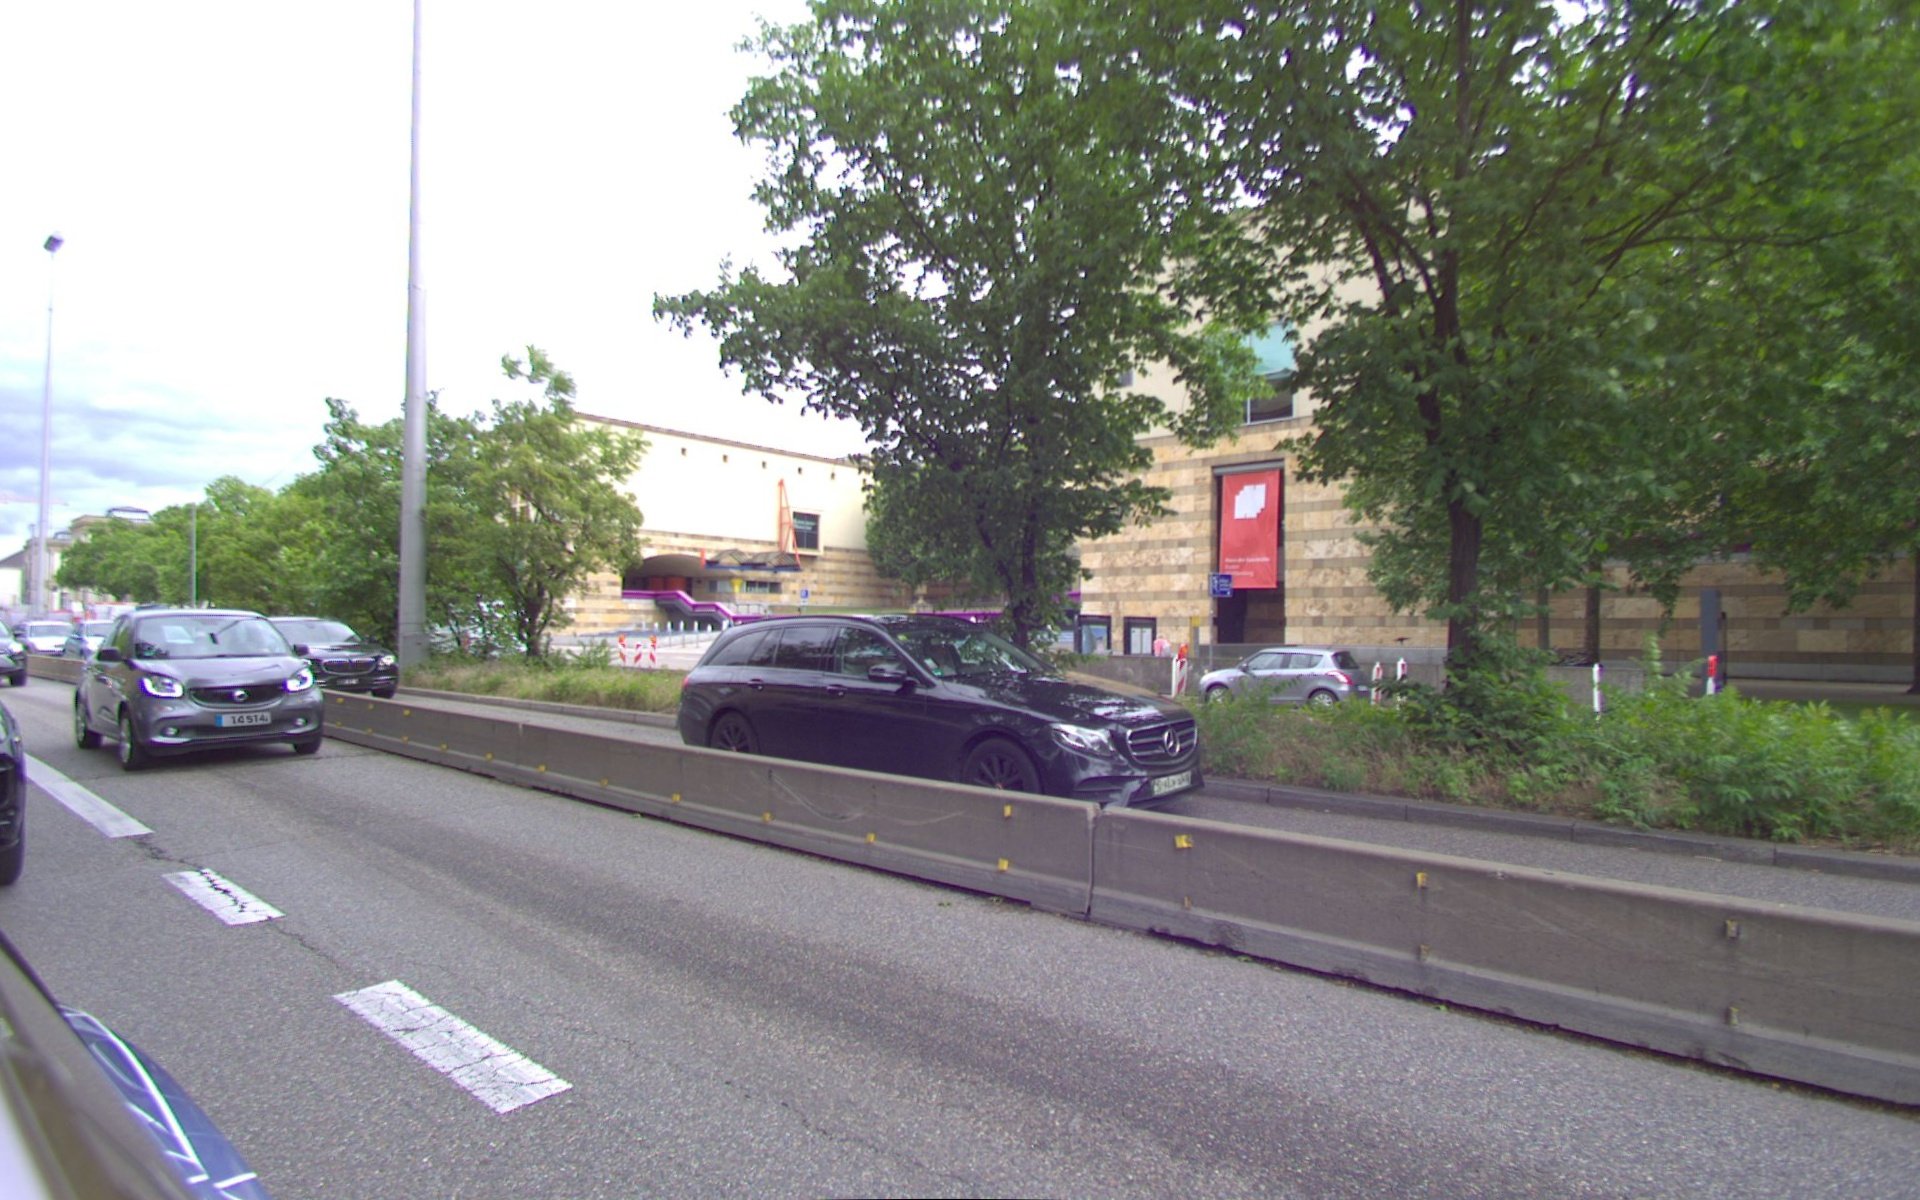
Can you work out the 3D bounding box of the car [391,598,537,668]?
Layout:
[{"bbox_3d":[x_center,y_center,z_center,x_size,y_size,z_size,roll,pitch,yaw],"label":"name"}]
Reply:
[{"bbox_3d":[-15.401,1.015,31.264,5.576,1.984,2.093,-2,-2,42],"label":"car"}]

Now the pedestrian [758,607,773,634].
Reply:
[{"bbox_3d":[-13.460,1.403,70.043,0.803,1.867,0.684,-1,0,42],"label":"pedestrian"}]

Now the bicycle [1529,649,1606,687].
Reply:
[{"bbox_3d":[17.493,1.947,29.168,0.483,1.002,1.847,-1,0,-43],"label":"bicycle"}]

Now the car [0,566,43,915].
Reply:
[{"bbox_3d":[-6.771,0.679,5.363,4.190,1.670,1.887,-1,-2,34],"label":"car"}]

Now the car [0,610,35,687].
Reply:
[{"bbox_3d":[-22.464,1.060,22.922,3.996,1.668,1.669,-1,-1,39],"label":"car"}]

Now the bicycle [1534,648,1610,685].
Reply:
[{"bbox_3d":[17.962,1.939,29.731,0.559,0.998,1.847,-1,0,-43],"label":"bicycle"}]

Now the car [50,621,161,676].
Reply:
[{"bbox_3d":[-25.625,1.404,30.318,3.846,1.518,1.657,-1,-1,36],"label":"car"}]

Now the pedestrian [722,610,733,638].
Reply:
[{"bbox_3d":[-15.576,1.596,67.737,0.683,1.867,0.805,-1,0,-10],"label":"pedestrian"}]

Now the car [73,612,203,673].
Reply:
[{"bbox_3d":[-21.289,1.059,26.166,4.190,1.465,1.644,-1,-1,37],"label":"car"}]

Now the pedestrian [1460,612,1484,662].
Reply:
[{"bbox_3d":[16.404,1.176,32.408,0.620,1.581,0.434,-1,-2,34],"label":"pedestrian"}]

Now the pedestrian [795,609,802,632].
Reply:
[{"bbox_3d":[-11.655,1.498,73.097,0.405,1.623,0.343,-1,0,42],"label":"pedestrian"}]

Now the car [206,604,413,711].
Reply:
[{"bbox_3d":[-11.700,0.931,18.043,4.935,1.648,1.903,-1,-1,42],"label":"car"}]

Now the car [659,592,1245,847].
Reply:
[{"bbox_3d":[-0.306,0.748,8.256,4.765,1.510,1.798,-1,-2,40],"label":"car"}]

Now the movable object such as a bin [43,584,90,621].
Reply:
[{"bbox_3d":[-55.511,0.202,62.894,3.286,2.202,1.508,-1,-2,36],"label":"movable object such as a bin"}]

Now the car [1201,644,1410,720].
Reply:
[{"bbox_3d":[7.602,1.740,22.446,3.998,1.469,1.829,-2,-2,41],"label":"car"}]

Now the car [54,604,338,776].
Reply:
[{"bbox_3d":[-8.315,0.827,10.894,3.998,1.516,1.668,-1,-1,41],"label":"car"}]
